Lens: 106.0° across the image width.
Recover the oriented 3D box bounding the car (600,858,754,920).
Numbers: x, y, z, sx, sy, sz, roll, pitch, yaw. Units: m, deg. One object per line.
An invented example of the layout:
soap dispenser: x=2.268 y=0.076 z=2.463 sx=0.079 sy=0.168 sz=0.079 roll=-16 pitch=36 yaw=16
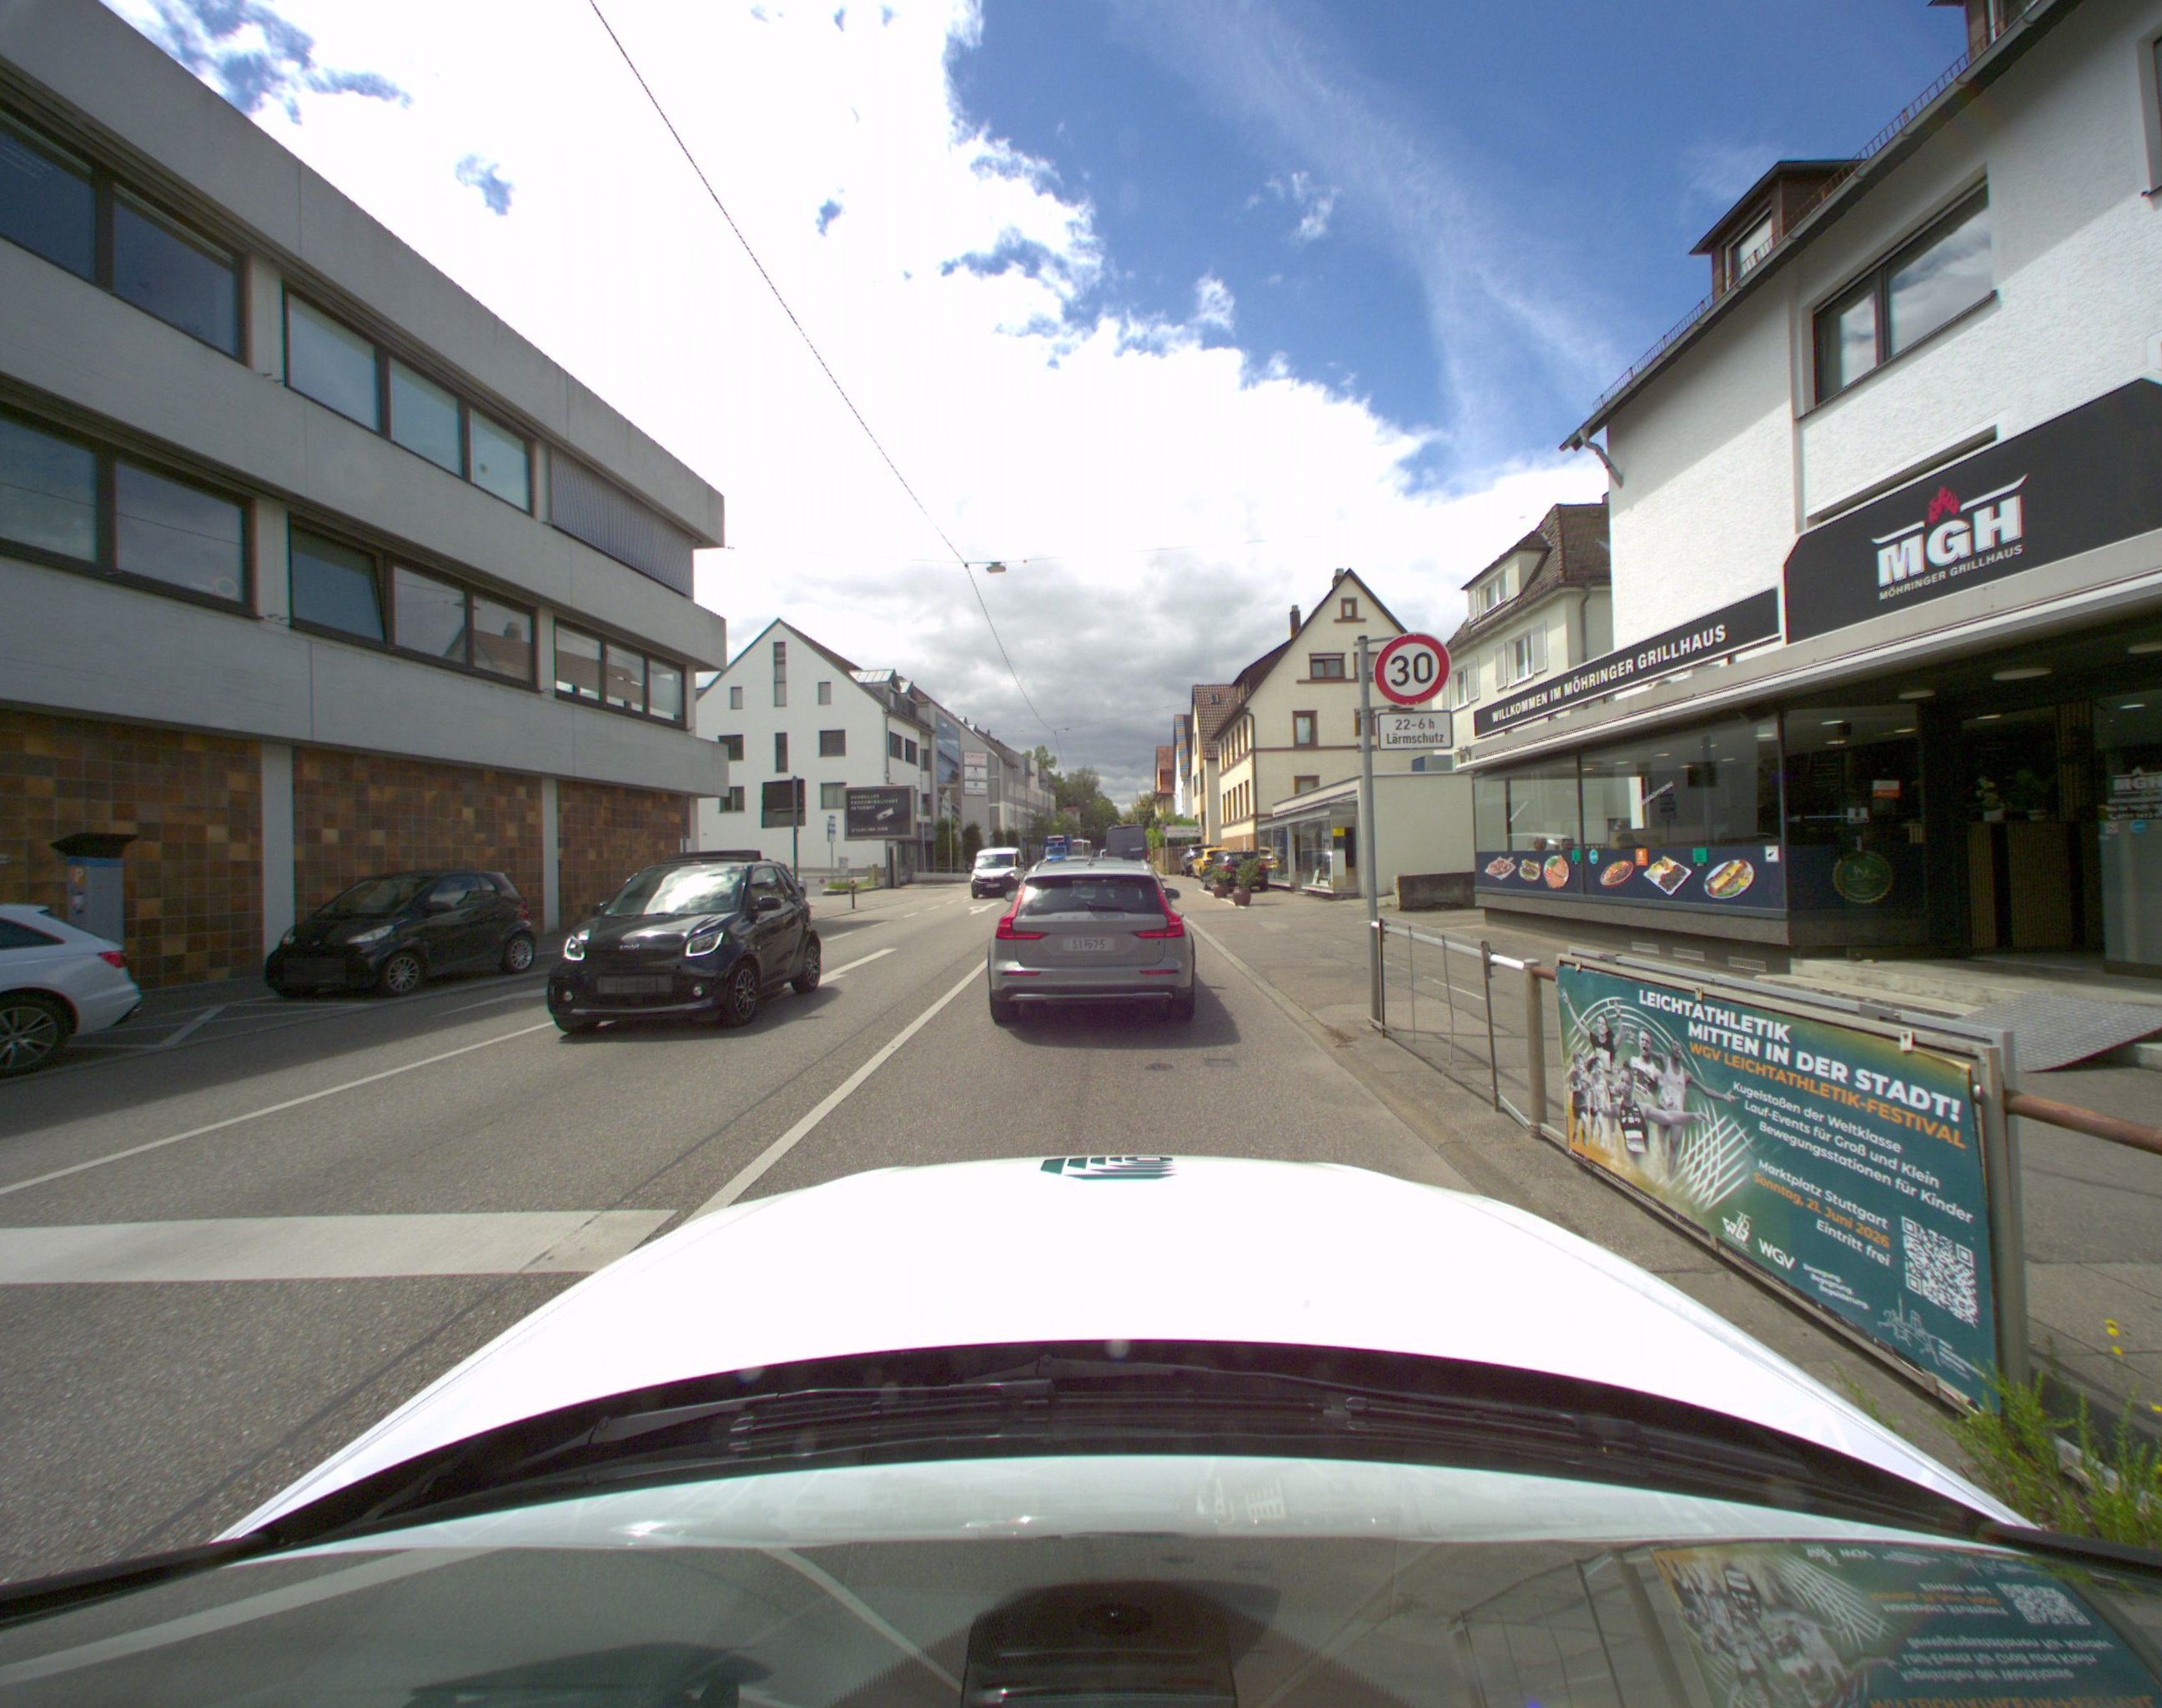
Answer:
car: x=-13.095 y=1.067 z=26.851 sx=1.940 sy=1.619 sz=4.941 roll=-4 pitch=0 yaw=8

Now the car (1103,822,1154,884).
car: x=2.294 y=-0.064 z=40.496 sx=2.244 sy=2.795 sz=5.572 roll=-2 pitch=0 yaw=2

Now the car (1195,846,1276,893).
car: x=5.374 y=0.500 z=28.883 sx=1.962 sy=1.447 sz=4.535 roll=-2 pitch=0 yaw=0

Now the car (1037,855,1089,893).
car: x=-0.805 y=0.774 z=33.962 sx=1.893 sy=1.446 sz=3.961 roll=-1 pitch=0 yaw=-5

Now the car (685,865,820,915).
car: x=-10.494 y=1.095 z=26.481 sx=1.941 sy=1.358 sz=4.864 roll=-2 pitch=0 yaw=6

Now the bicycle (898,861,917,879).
bicycle: x=-10.829 y=0.994 z=50.805 sx=0.628 sy=1.095 sz=2.005 roll=-2 pitch=0 yaw=4

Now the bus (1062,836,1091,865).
bus: x=-0.458 y=-0.380 z=94.921 sx=2.671 sy=3.163 sz=10.193 roll=-2 pitch=0 yaw=3

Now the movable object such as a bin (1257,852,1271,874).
movable object such as a bin: x=7.913 y=0.374 z=35.305 sx=0.498 sy=0.925 sz=0.599 roll=-2 pitch=0 yaw=6

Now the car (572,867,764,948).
car: x=-8.601 y=1.046 z=17.431 sx=1.714 sy=1.422 sz=4.153 roll=-1 pitch=0 yaw=4

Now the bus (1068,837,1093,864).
bus: x=0.004 y=-0.425 z=104.044 sx=2.705 sy=3.163 sz=8.074 roll=-2 pitch=0 yaw=3

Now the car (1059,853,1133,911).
car: x=0.504 y=0.725 z=22.893 sx=1.888 sy=1.446 sz=3.972 roll=-1 pitch=0 yaw=3

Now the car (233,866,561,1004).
car: x=-9.027 y=0.983 z=11.095 sx=1.728 sy=1.556 sz=3.061 roll=-1 pitch=0 yaw=5

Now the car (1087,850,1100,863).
car: x=2.186 y=0.507 z=141.552 sx=2.098 sy=2.121 sz=4.767 roll=-3 pitch=0 yaw=1

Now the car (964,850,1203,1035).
car: x=0.148 y=0.702 z=8.485 sx=1.888 sy=1.453 sz=3.973 roll=-1 pitch=0 yaw=4

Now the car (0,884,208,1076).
car: x=-9.545 y=1.029 z=5.339 sx=2.034 sy=1.444 sz=4.960 roll=-1 pitch=0 yaw=5

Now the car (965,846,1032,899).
car: x=-3.095 y=0.641 z=31.260 sx=1.938 sy=1.821 sz=4.280 roll=-2 pitch=0 yaw=2

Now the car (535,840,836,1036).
car: x=-3.854 y=0.726 z=8.470 sx=1.671 sy=1.635 sz=2.833 roll=-2 pitch=0 yaw=0

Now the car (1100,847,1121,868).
car: x=3.031 y=0.349 z=83.950 sx=1.985 sy=2.013 sz=4.004 roll=-1 pitch=0 yaw=4

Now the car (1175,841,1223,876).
car: x=6.068 y=0.224 z=42.174 sx=1.854 sy=1.612 sz=4.587 roll=-3 pitch=0 yaw=1

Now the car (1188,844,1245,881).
car: x=6.149 y=0.336 z=37.380 sx=1.871 sy=1.447 sz=4.307 roll=-2 pitch=2 yaw=0

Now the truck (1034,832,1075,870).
truck: x=-2.184 y=-0.256 z=71.171 sx=2.842 sy=3.093 sz=8.094 roll=-2 pitch=0 yaw=3
